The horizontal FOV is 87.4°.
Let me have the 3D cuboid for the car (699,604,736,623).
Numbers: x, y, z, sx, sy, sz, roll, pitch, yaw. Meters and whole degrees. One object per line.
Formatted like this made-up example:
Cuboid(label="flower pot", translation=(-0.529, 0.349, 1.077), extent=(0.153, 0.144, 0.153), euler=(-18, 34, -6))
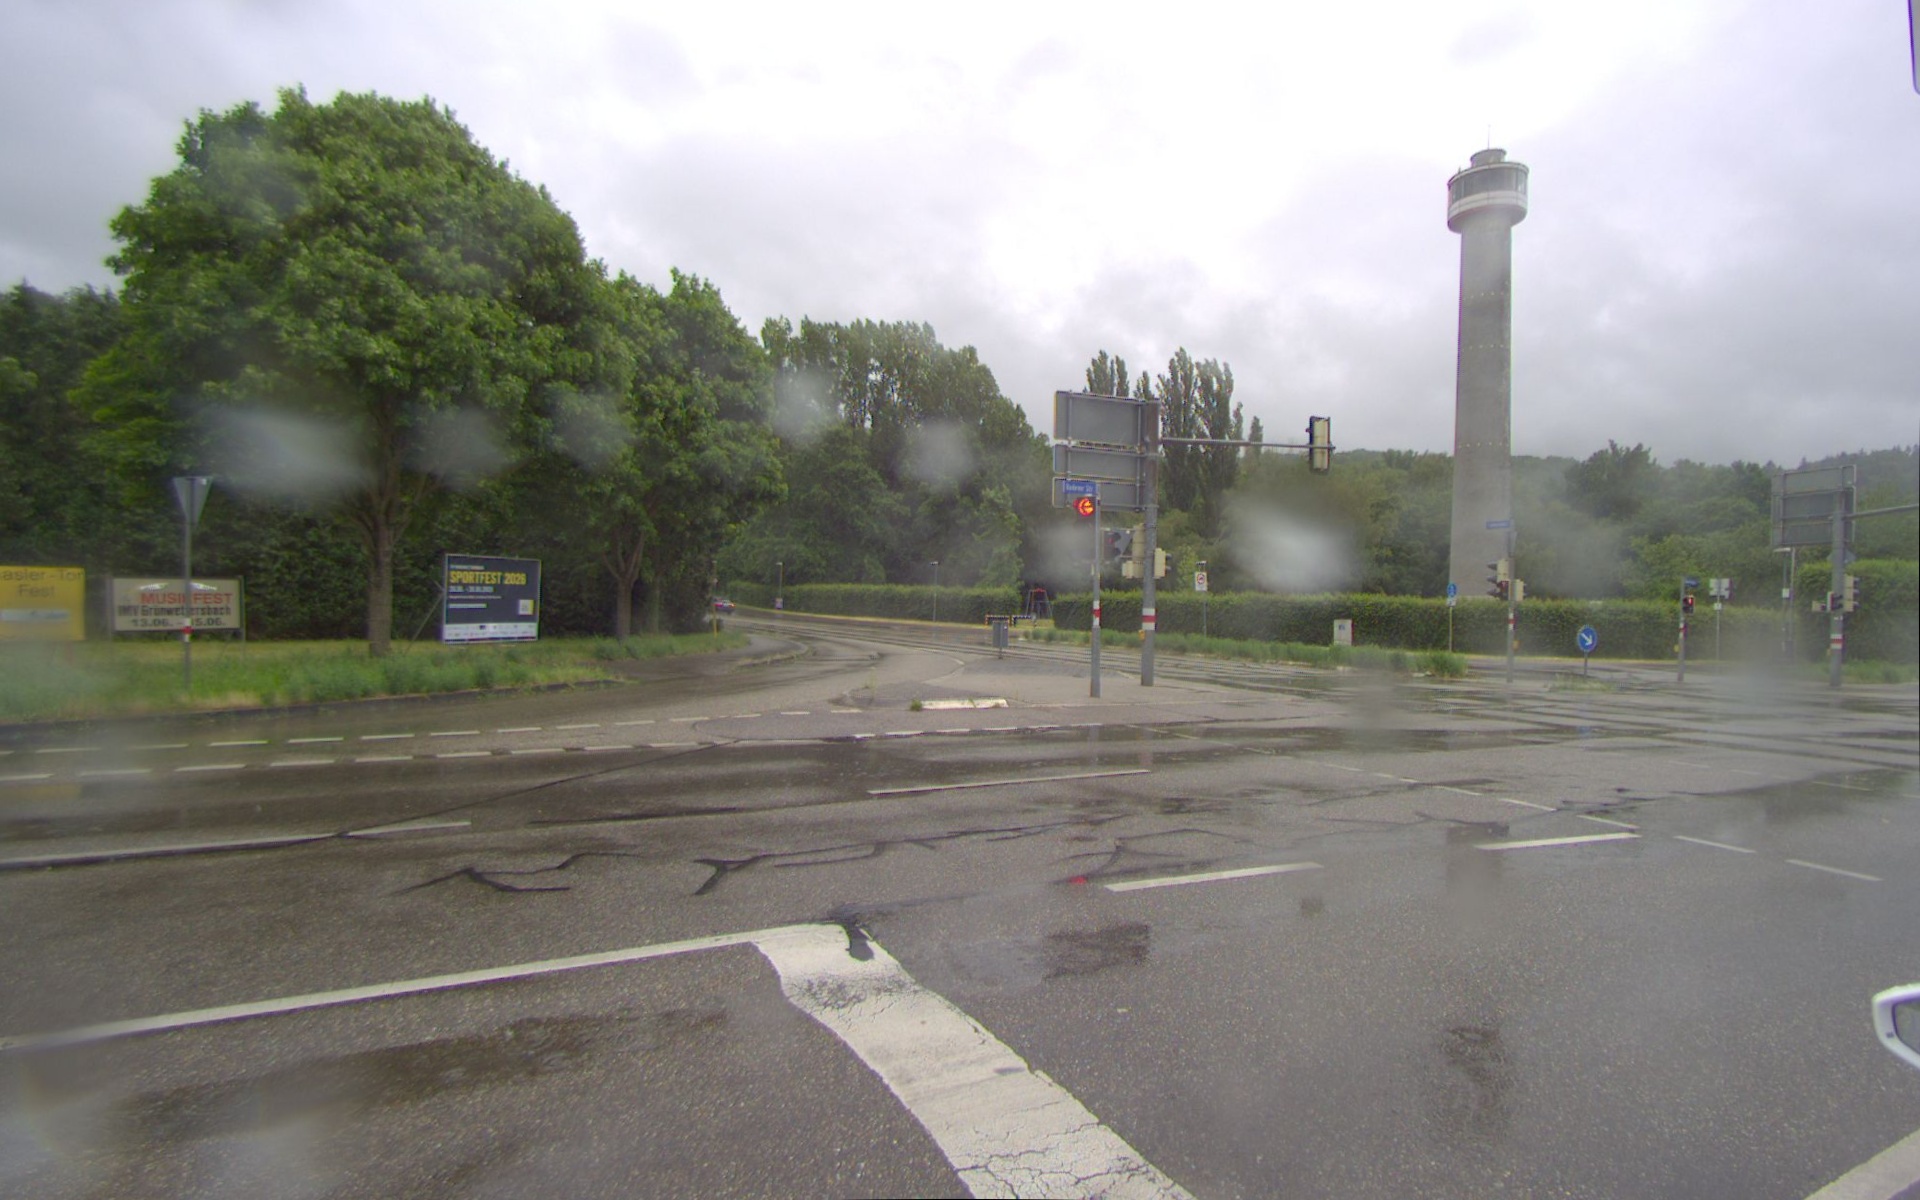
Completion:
Cuboid(label="car", translation=(-21.061, 1.185, 87.269), extent=(1.744, 1.606, 4.079), euler=(1, -1, -35))
